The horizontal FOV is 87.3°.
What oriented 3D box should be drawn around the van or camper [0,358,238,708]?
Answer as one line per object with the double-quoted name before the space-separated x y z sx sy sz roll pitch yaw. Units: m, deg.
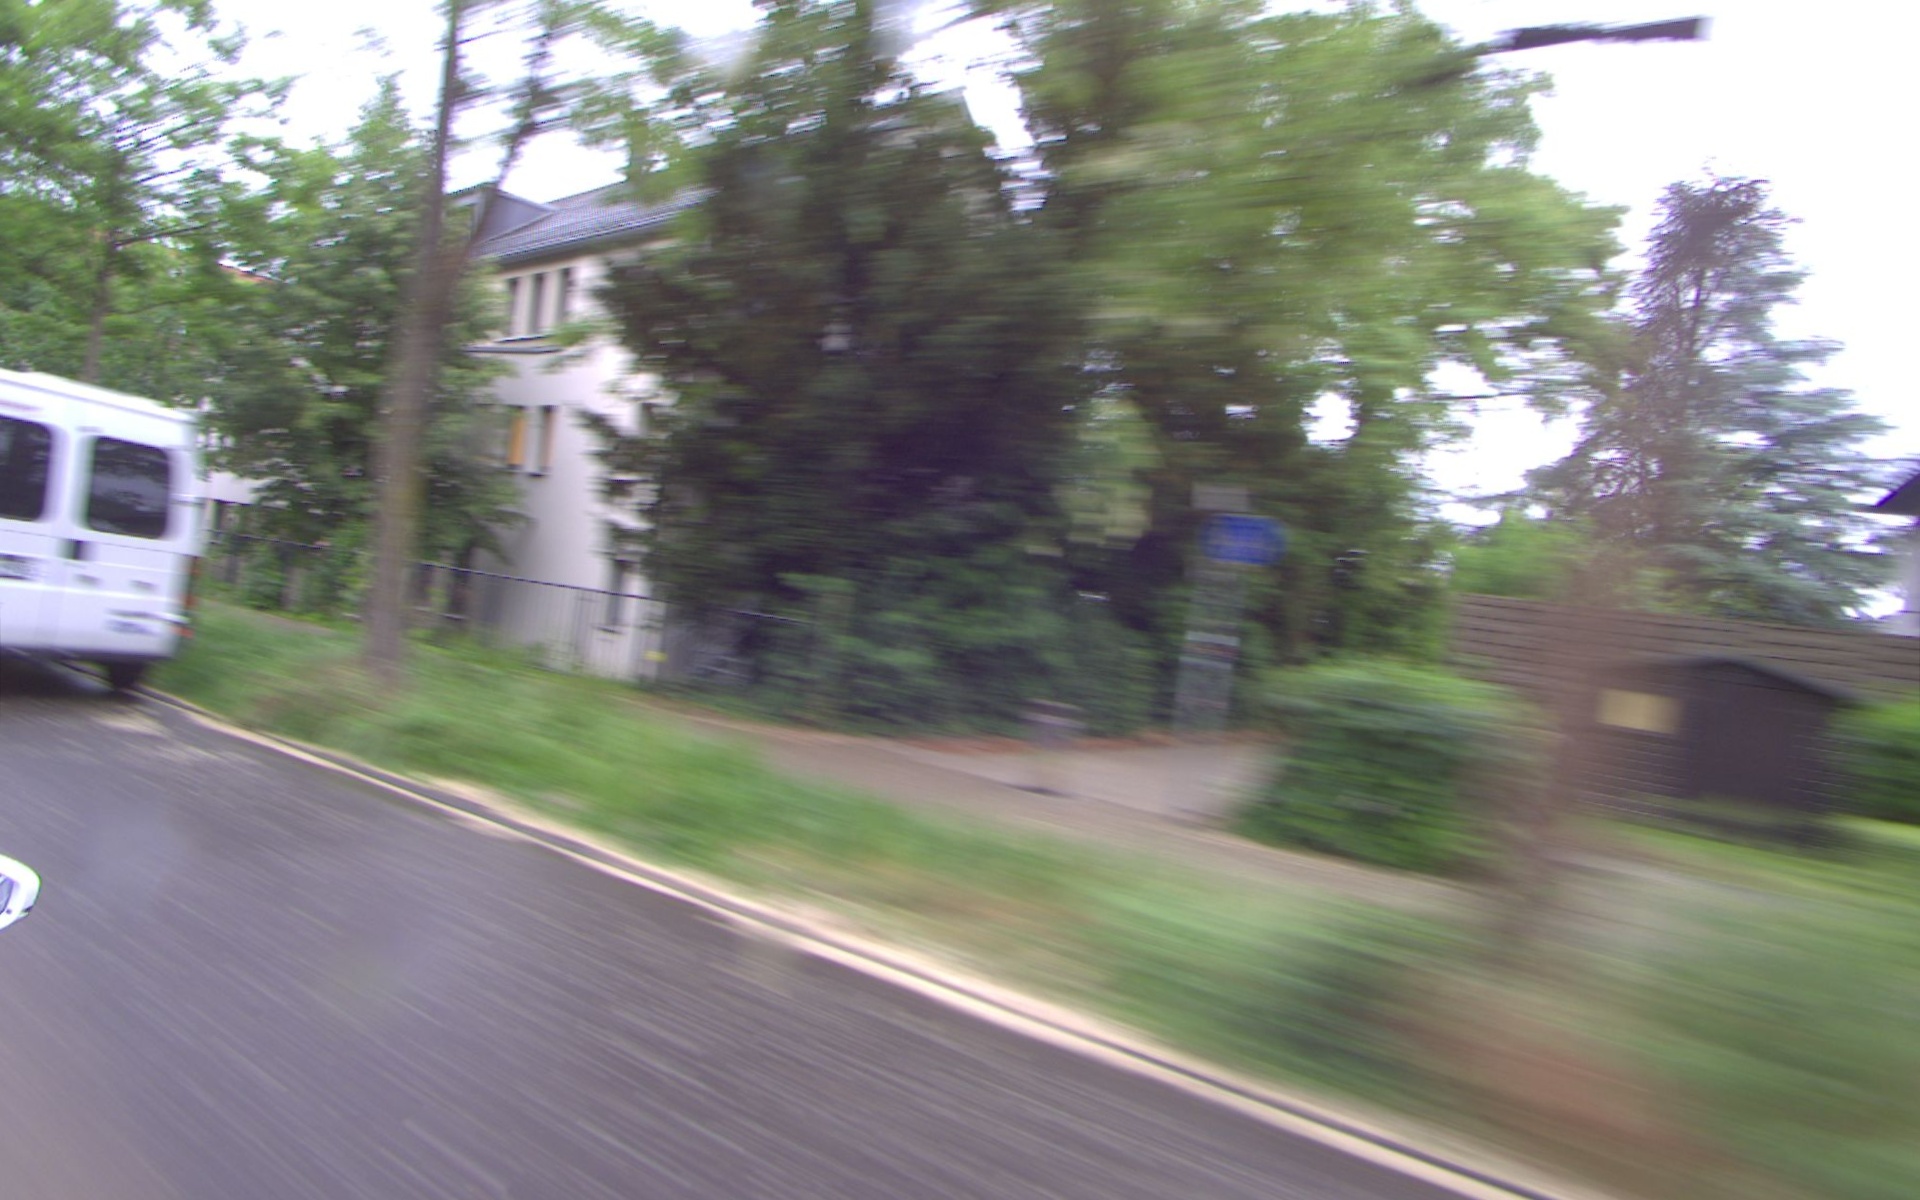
"van or camper" -9.254 -0.735 9.203 5.545 2.506 2.043 7 -3 32
